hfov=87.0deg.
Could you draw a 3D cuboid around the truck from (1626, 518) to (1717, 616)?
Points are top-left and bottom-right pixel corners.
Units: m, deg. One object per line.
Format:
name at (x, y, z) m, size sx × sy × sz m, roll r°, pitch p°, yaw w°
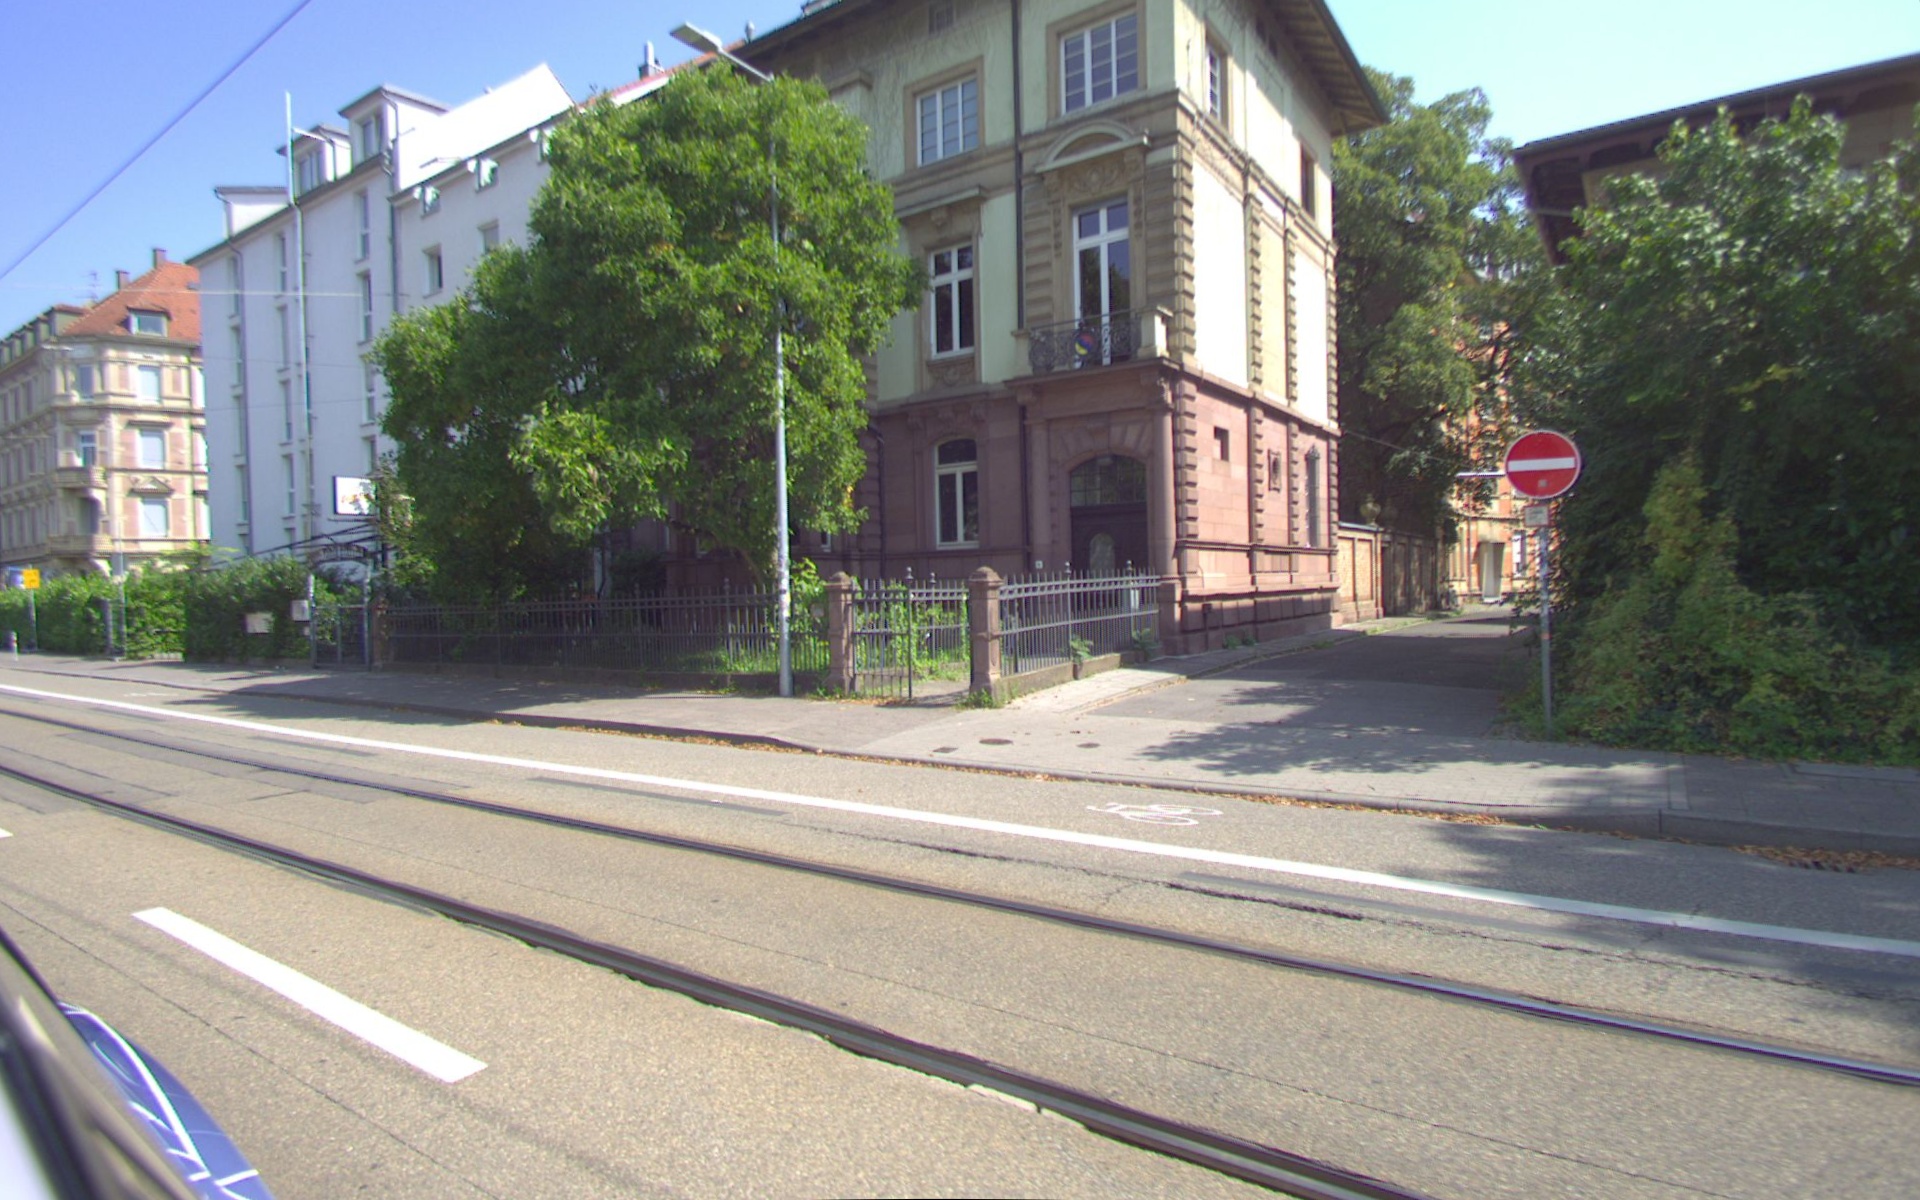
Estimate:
truck at (25.008, -1.134, 35.466) m, size 1.999 × 3.139 × 6.193 m, roll -1°, pitch 1°, yaw 41°
